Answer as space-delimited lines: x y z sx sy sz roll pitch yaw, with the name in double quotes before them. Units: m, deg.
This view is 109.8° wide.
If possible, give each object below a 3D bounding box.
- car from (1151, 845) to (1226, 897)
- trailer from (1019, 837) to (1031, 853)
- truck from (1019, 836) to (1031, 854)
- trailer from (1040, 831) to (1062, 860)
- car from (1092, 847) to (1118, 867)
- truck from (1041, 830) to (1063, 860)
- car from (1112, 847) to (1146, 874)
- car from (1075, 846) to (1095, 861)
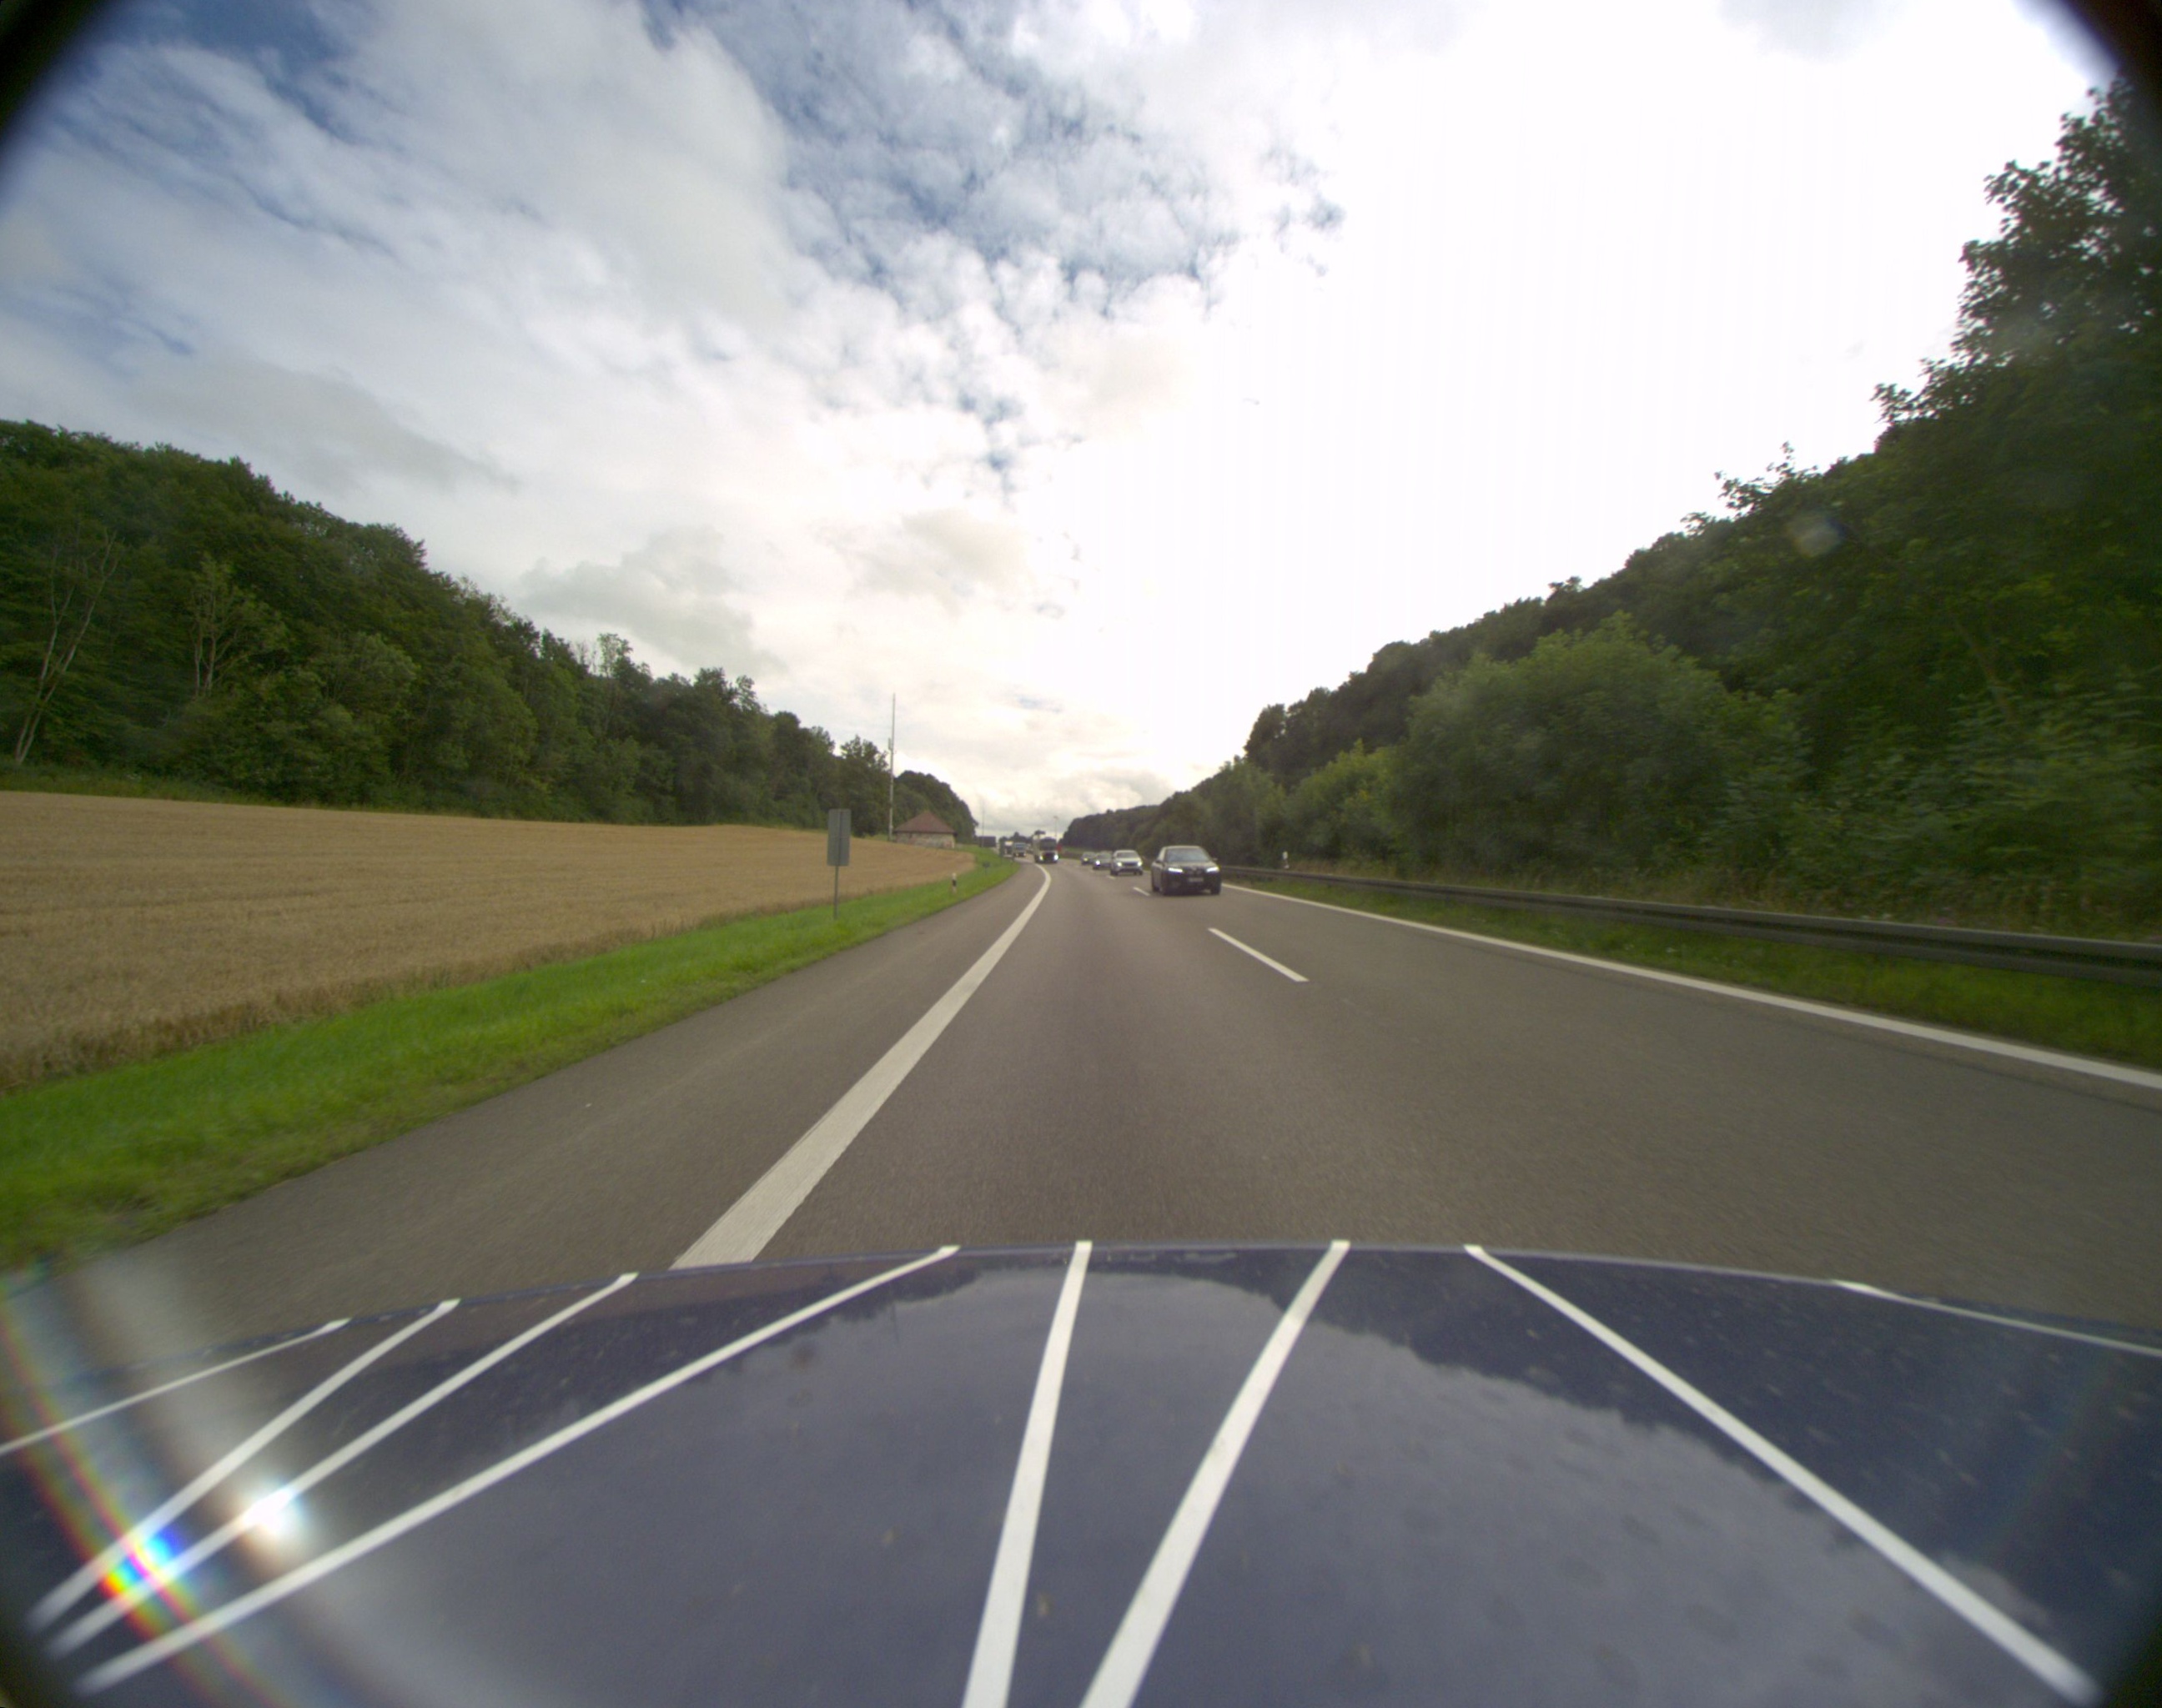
"car" 3.751 0.549 27.269 1.999 1.656 4.414 -1 0 0
"trailer" -13.848 -2.202 187.681 2.787 3.932 11.290 -2 1 -4
"truck" -13.436 -2.150 181.844 2.796 3.949 5.937 -2 1 -4
"trailer" -4.378 -1.236 109.492 2.787 3.932 11.290 -2 1 -4
"car" 2.163 0.242 68.601 1.999 1.656 4.413 -2 1 -2
"truck" -4.022 -1.220 104.586 2.796 3.949 5.937 -2 1 -4
"car" 3.185 0.389 51.071 1.999 1.656 4.414 -1 1 0
"car" 0.499 -0.125 89.714 1.999 1.656 4.412 -2 1 -4
